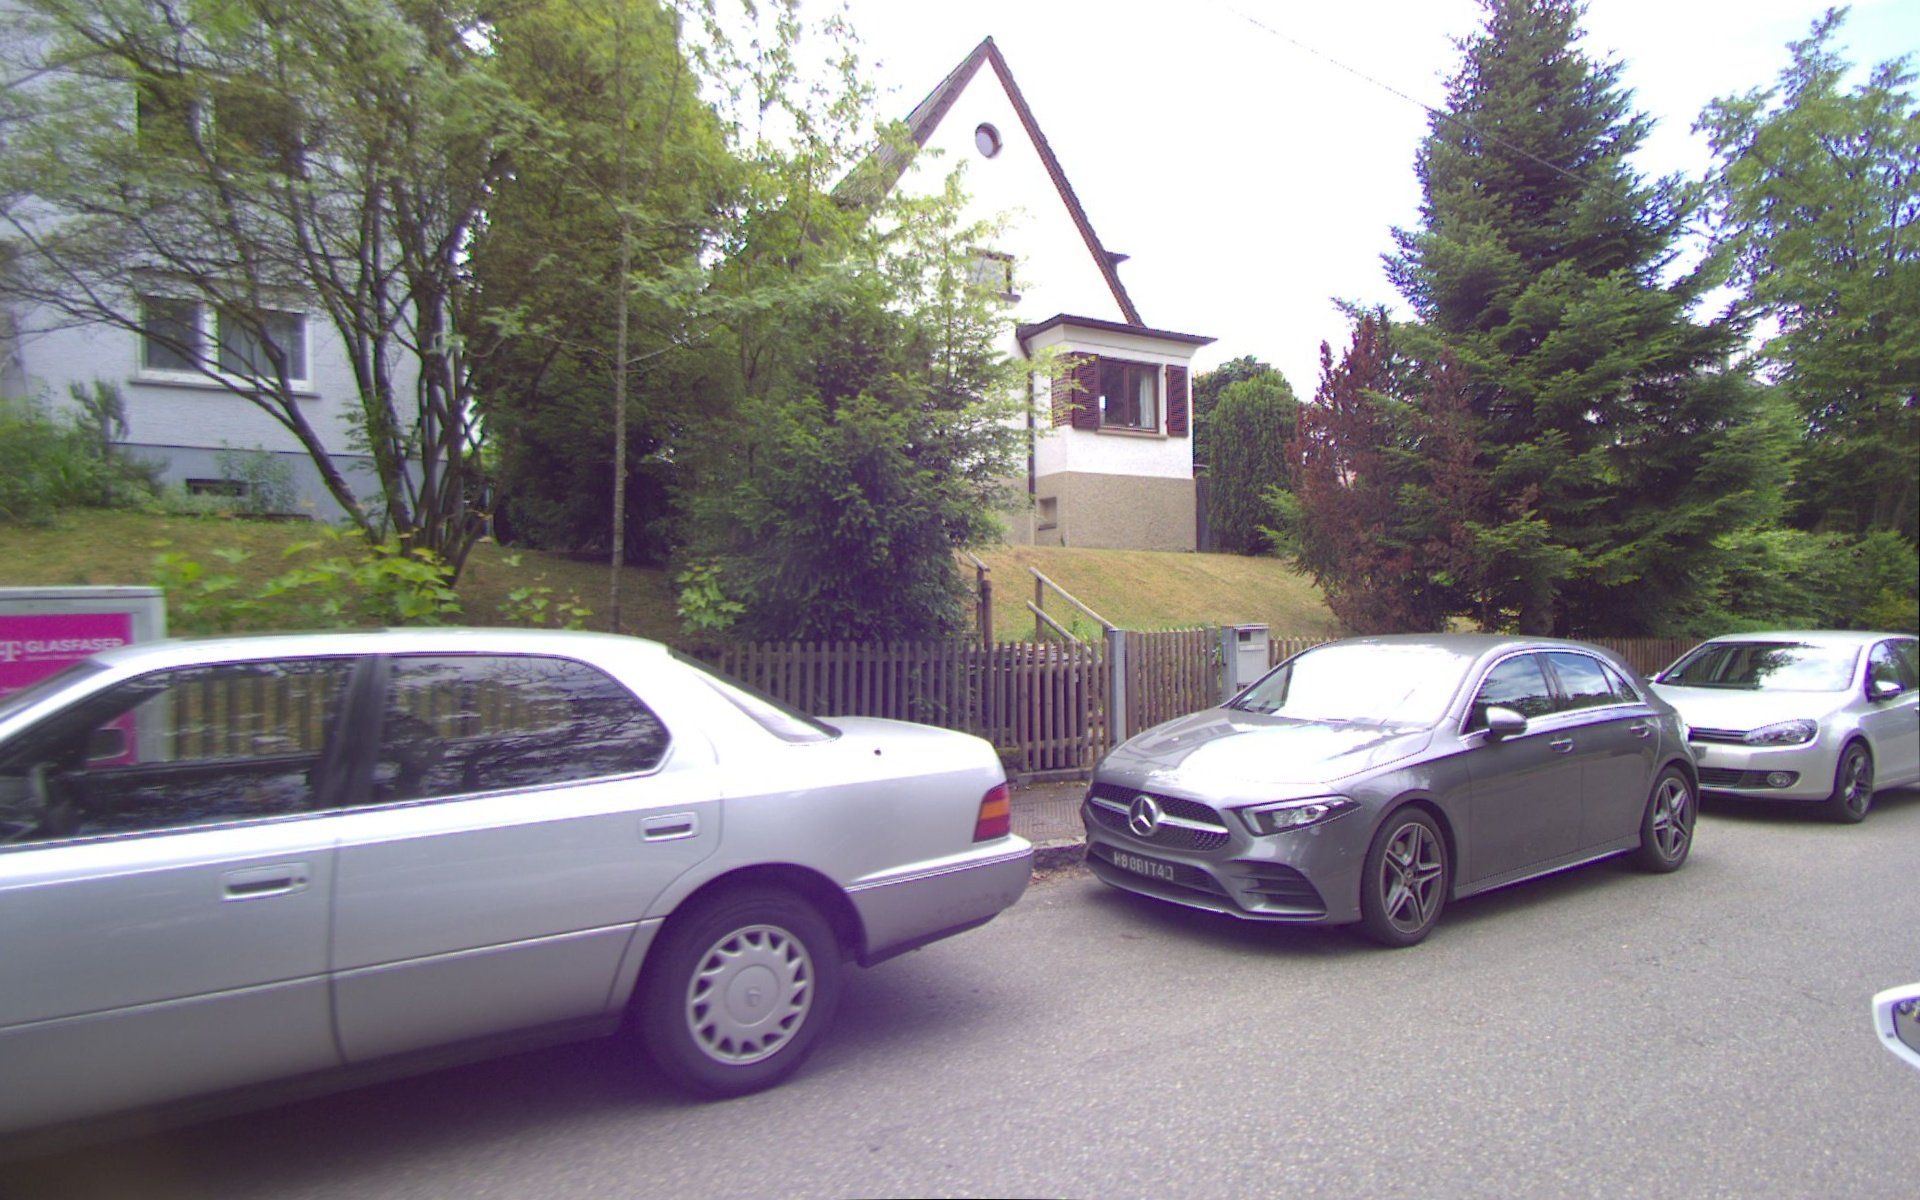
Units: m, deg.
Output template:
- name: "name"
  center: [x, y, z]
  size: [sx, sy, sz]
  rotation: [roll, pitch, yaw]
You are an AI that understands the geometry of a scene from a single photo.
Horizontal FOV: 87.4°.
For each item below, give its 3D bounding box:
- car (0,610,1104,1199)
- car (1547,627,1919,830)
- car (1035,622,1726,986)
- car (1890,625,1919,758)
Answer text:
- name: "car"
  center: [-1.991, 0.782, 3.227]
  size: [4.856, 1.458, 1.838]
  rotation: [1, -2, -32]
- name: "car"
  center: [7.350, 0.986, 9.039]
  size: [4.069, 1.458, 1.826]
  rotation: [1, -2, -31]
- name: "car"
  center: [2.632, 0.879, 5.933]
  size: [4.217, 1.458, 1.724]
  rotation: [1, -2, -33]
- name: "car"
  center: [13.651, 1.092, 12.544]
  size: [4.554, 1.582, 1.906]
  rotation: [1, -3, -33]
